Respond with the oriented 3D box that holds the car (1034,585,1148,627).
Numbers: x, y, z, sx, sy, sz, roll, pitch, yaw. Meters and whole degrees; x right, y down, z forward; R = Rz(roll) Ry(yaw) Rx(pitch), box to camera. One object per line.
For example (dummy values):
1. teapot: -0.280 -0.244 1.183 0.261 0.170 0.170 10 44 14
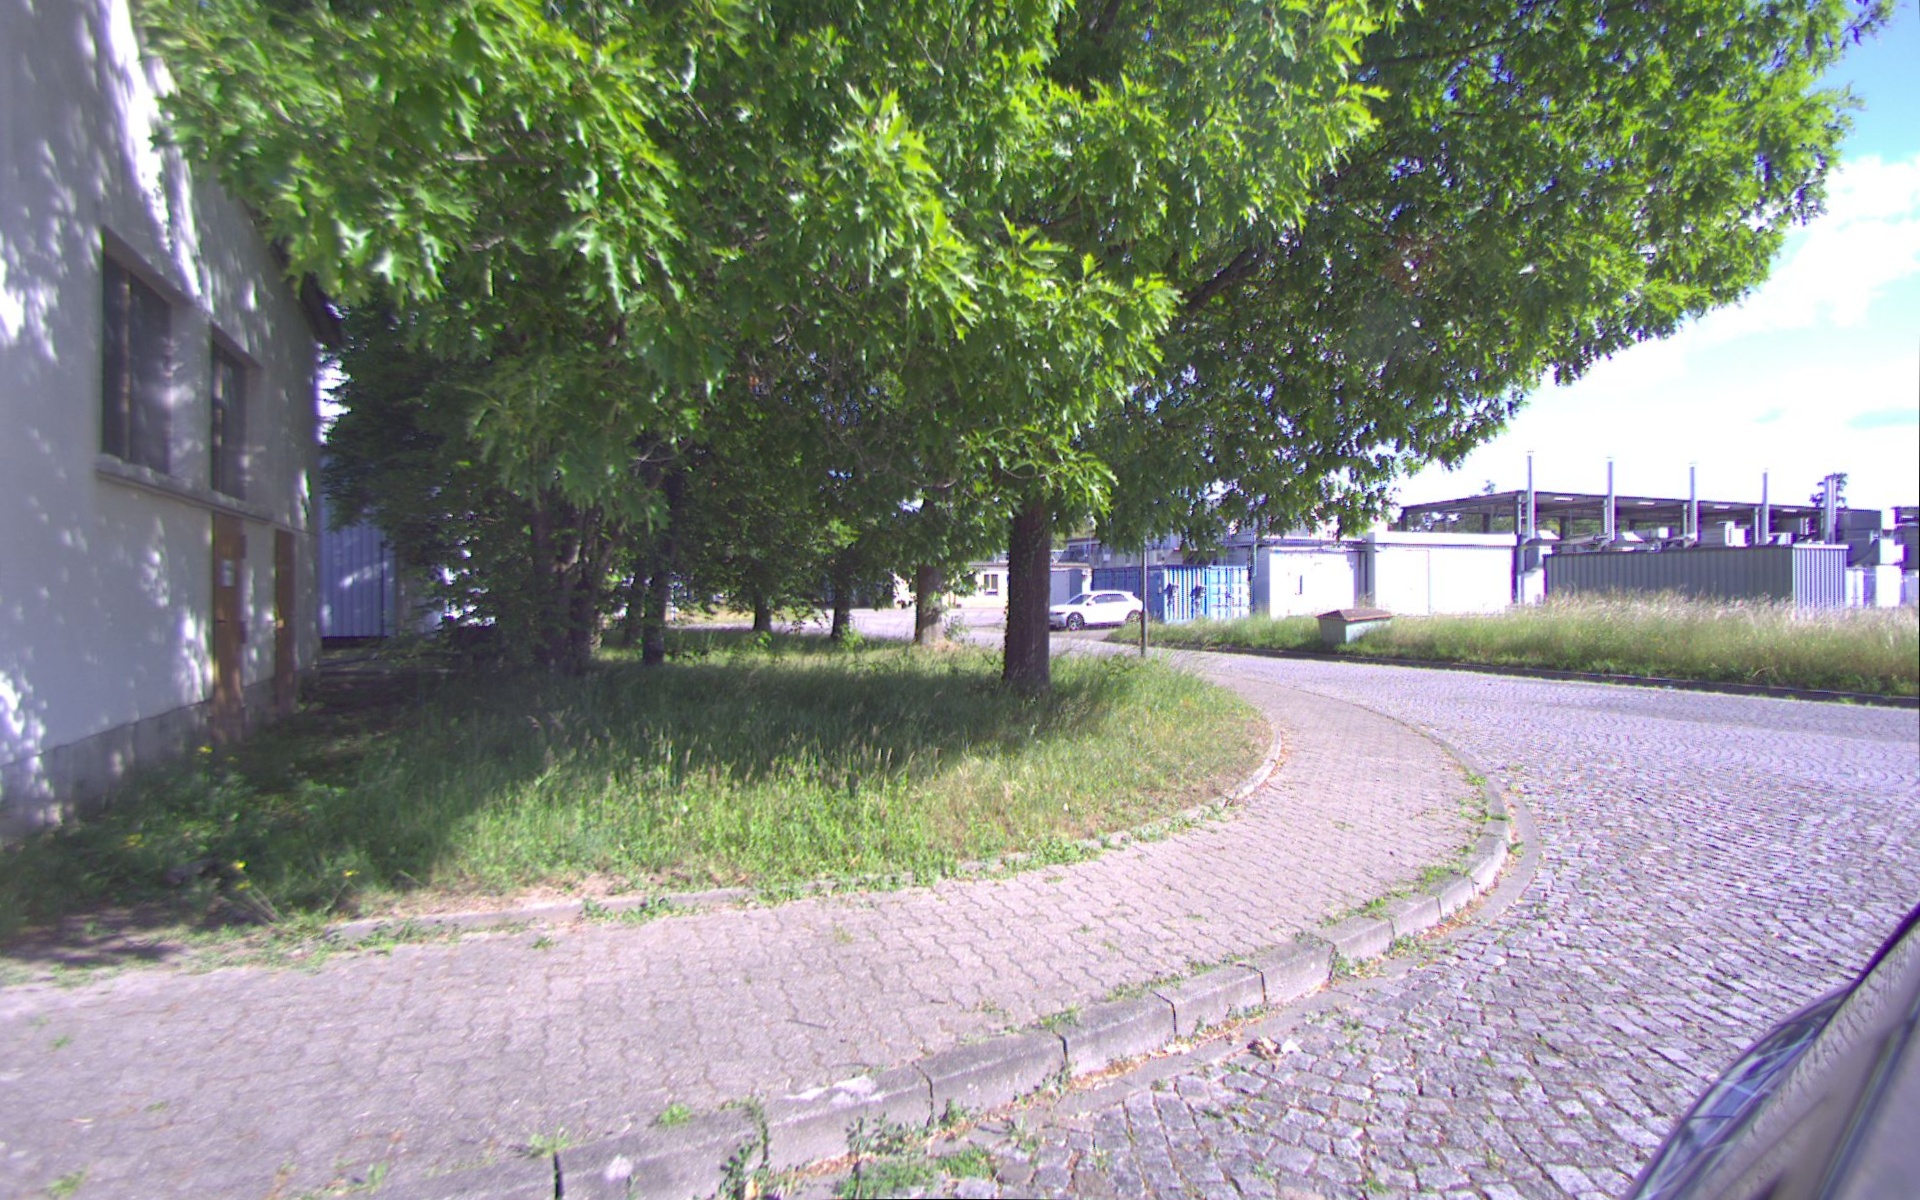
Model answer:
1. car: 5.511 0.226 42.474 4.427 1.613 1.827 -1 0 -25
